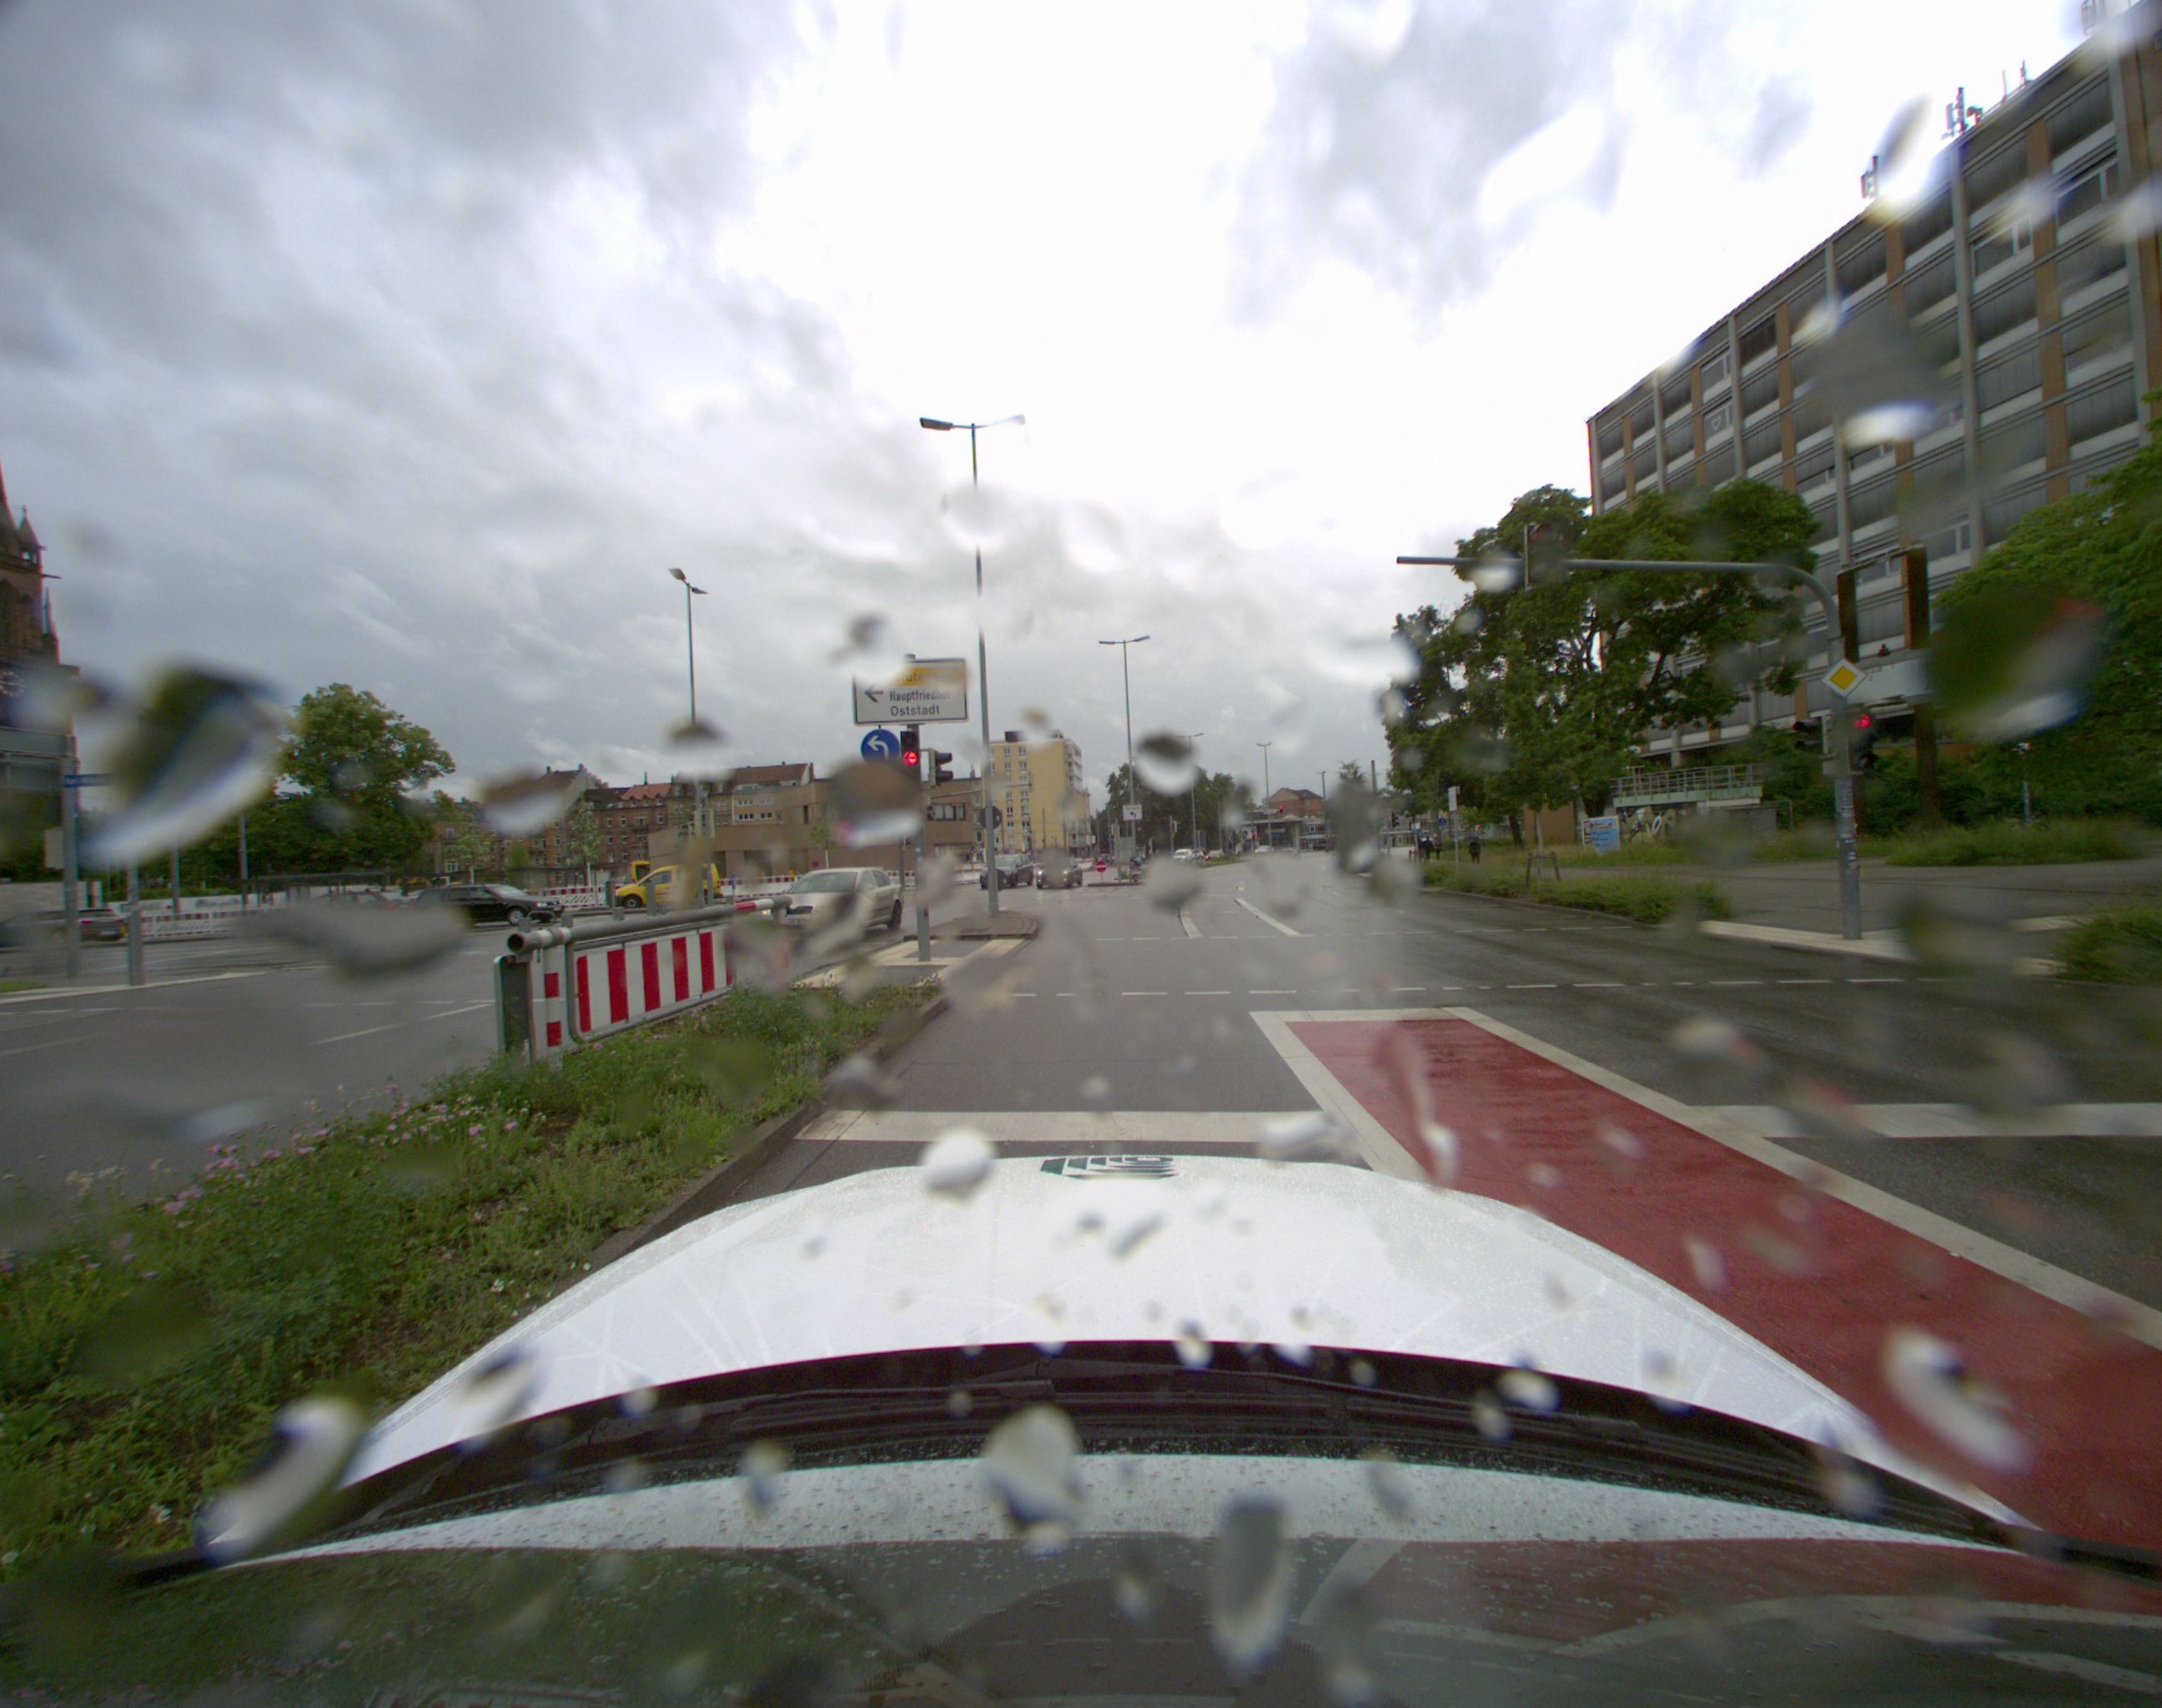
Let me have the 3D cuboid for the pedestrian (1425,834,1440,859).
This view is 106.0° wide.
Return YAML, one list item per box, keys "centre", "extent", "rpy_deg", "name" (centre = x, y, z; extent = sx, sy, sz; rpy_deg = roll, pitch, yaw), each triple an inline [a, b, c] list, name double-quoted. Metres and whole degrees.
- centre: [22.983, -0.496, 53.287]
  extent: [0.698, 1.588, 0.939]
  rpy_deg: [-3, 0, 12]
  name: "pedestrian"

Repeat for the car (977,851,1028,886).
- centre: [-4.013, 0.706, 42.455]
  extent: [1.764, 1.678, 4.774]
  rpy_deg: [-3, 0, 4]
  name: "car"

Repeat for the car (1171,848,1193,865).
- centre: [12.120, 0.242, 97.887]
  extent: [1.776, 1.858, 4.178]
  rpy_deg: [-3, 0, 17]
  name: "car"

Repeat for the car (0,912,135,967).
- centre: [-38.641, 3.216, 30.618]
  extent: [3.803, 1.706, 1.707]
  rpy_deg: [-3, 0, -6]
  name: "car"

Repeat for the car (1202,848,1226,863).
- centre: [16.183, 0.144, 98.687]
  extent: [1.774, 1.643, 4.069]
  rpy_deg: [-3, 0, 24]
  name: "car"

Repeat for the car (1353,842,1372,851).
- centre: [57.319, -1.516, 165.855]
  extent: [4.183, 1.643, 1.774]
  rpy_deg: [-3, 0, -43]
  name: "car"

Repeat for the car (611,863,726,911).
- centre: [-17.385, 1.361, 34.368]
  extent: [4.168, 1.706, 1.693]
  rpy_deg: [-3, 0, -32]
  name: "car"

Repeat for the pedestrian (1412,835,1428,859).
- centre: [22.326, -0.460, 53.639]
  extent: [0.749, 1.588, 0.939]
  rpy_deg: [-3, 0, 12]
  name: "pedestrian"

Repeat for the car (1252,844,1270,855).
- centre: [28.677, -0.695, 129.346]
  extent: [1.773, 1.643, 4.184]
  rpy_deg: [-3, 0, 26]
  name: "car"

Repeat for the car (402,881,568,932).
- centre: [-19.983, 1.747, 27.446]
  extent: [4.185, 1.402, 1.615]
  rpy_deg: [-3, 0, -5]
  name: "car"

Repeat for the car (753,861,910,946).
- centre: [-5.037, 0.935, 17.106]
  extent: [1.686, 1.415, 4.188]
  rpy_deg: [-3, 0, 4]
  name: "car"

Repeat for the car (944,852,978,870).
- centre: [-21.093, 1.215, 142.843]
  extent: [5.326, 2.887, 2.342]
  rpy_deg: [-3, 0, 4]
  name: "car"

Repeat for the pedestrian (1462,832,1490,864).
- centre: [20.081, -0.296, 41.402]
  extent: [1.015, 1.588, 0.939]
  rpy_deg: [-3, 0, 12]
  name: "pedestrian"

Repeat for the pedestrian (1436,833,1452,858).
- centre: [23.649, -0.530, 53.008]
  extent: [0.698, 1.588, 0.939]
  rpy_deg: [-3, 0, 12]
  name: "pedestrian"

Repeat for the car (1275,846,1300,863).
- centre: [21.949, 0.088, 86.492]
  extent: [1.774, 1.643, 4.183]
  rpy_deg: [-3, 0, 23]
  name: "car"

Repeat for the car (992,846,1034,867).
- centre: [-11.803, 0.440, 141.989]
  extent: [6.711, 3.380, 2.813]
  rpy_deg: [-3, 0, 4]
  name: "car"

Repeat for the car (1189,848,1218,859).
- centre: [20.061, -0.082, 133.307]
  extent: [4.405, 1.643, 1.781]
  rpy_deg: [-3, 0, -26]
  name: "car"

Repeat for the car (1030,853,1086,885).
- centre: [-1.085, 0.717, 40.548]
  extent: [1.760, 1.376, 4.135]
  rpy_deg: [-3, 0, 13]
  name: "car"

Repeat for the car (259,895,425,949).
- centre: [-28.894, 2.631, 31.985]
  extent: [4.454, 1.706, 1.702]
  rpy_deg: [-3, 0, -15]
  name: "car"
